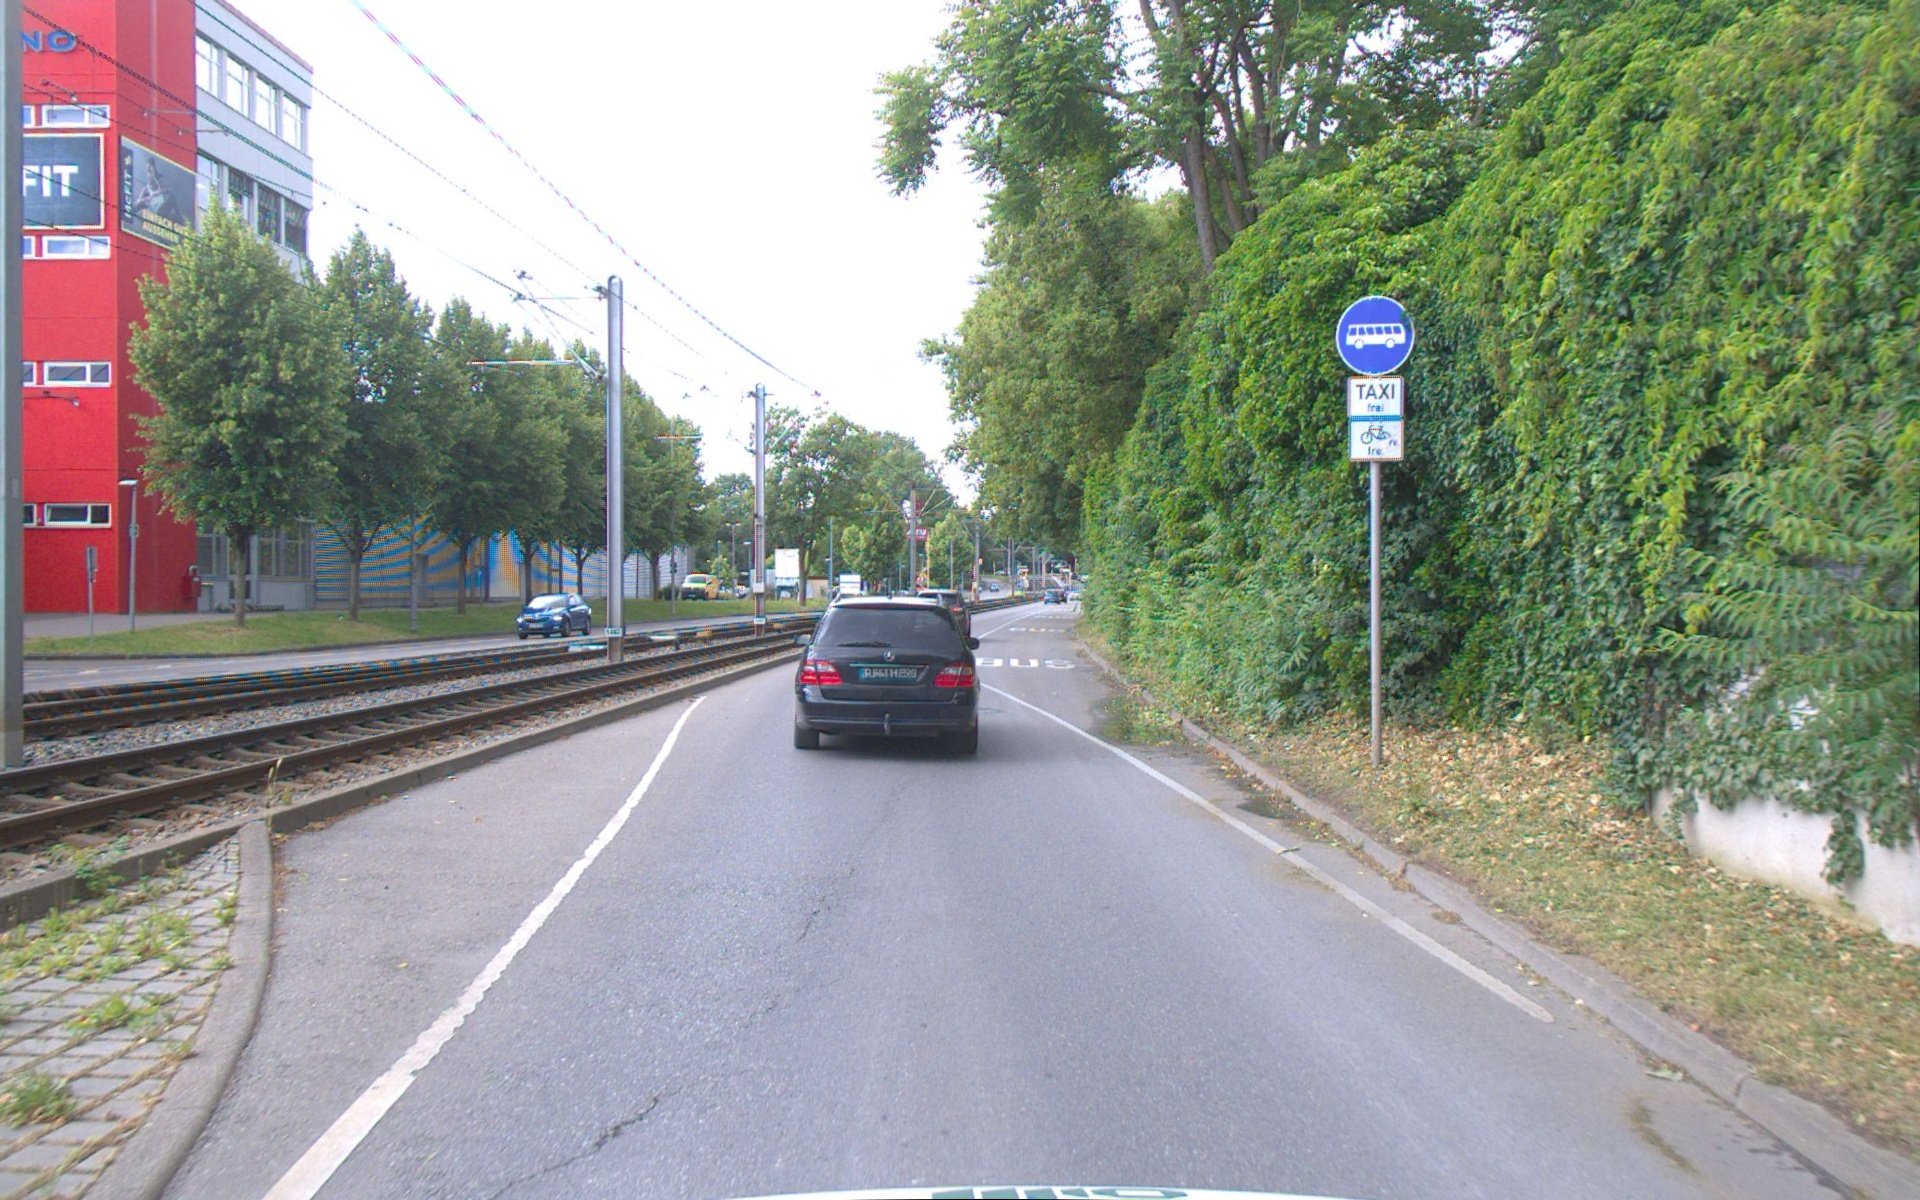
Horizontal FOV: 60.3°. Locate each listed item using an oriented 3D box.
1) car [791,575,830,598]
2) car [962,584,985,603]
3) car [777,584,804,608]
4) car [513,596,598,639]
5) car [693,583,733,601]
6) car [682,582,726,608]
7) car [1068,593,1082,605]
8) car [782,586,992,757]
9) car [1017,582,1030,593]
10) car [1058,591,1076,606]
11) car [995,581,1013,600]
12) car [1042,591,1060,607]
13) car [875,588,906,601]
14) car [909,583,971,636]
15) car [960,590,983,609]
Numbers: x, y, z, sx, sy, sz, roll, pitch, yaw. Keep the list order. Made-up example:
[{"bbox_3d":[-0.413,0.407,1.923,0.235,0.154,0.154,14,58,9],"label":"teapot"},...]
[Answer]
[{"bbox_3d":[-15.308,-1.395,169.739,3.908,2.161,1.998,-2,0,-4],"label":"car"},{"bbox_3d":[1.204,-0.558,143.333,1.787,1.556,3.987,1,0,3],"label":"car"},{"bbox_3d":[-15.261,-0.355,149.145,1.952,2.049,4.000,-2,0,1],"label":"car"},{"bbox_3d":[-13.718,0.576,56.283,1.624,1.417,3.721,0,0,6],"label":"car"},{"bbox_3d":[-25.947,-0.860,173.863,3.919,1.709,1.993,-2,0,-14],"label":"car"},{"bbox_3d":[-18.341,-0.379,118.612,1.951,1.773,4.990,-1,0,5],"label":"car"},{"bbox_3d":[15.192,-0.165,218.885,1.787,1.556,4.180,1,0,3],"label":"car"},{"bbox_3d":[-0.610,0.637,16.936,1.795,1.504,4.417,1,0,2],"label":"car"},{"bbox_3d":[8.476,-1.663,220.593,1.787,1.556,4.180,1,0,3],"label":"car"},{"bbox_3d":[11.628,-0.189,180.015,1.787,1.556,4.180,1,0,3],"label":"car"},{"bbox_3d":[4.886,-1.071,183.154,1.852,2.049,3.898,-2,0,1],"label":"car"},{"bbox_3d":[9.220,-0.118,168.205,1.787,1.556,4.417,1,0,3],"label":"car"},{"bbox_3d":[-9.434,-0.749,224.840,3.903,1.673,2.001,1,0,4],"label":"car"},{"bbox_3d":[-0.576,0.264,50.866,1.788,1.556,4.416,1,0,1],"label":"car"},{"bbox_3d":[0.985,-0.031,138.479,1.787,1.556,3.987,1,0,3],"label":"car"}]
